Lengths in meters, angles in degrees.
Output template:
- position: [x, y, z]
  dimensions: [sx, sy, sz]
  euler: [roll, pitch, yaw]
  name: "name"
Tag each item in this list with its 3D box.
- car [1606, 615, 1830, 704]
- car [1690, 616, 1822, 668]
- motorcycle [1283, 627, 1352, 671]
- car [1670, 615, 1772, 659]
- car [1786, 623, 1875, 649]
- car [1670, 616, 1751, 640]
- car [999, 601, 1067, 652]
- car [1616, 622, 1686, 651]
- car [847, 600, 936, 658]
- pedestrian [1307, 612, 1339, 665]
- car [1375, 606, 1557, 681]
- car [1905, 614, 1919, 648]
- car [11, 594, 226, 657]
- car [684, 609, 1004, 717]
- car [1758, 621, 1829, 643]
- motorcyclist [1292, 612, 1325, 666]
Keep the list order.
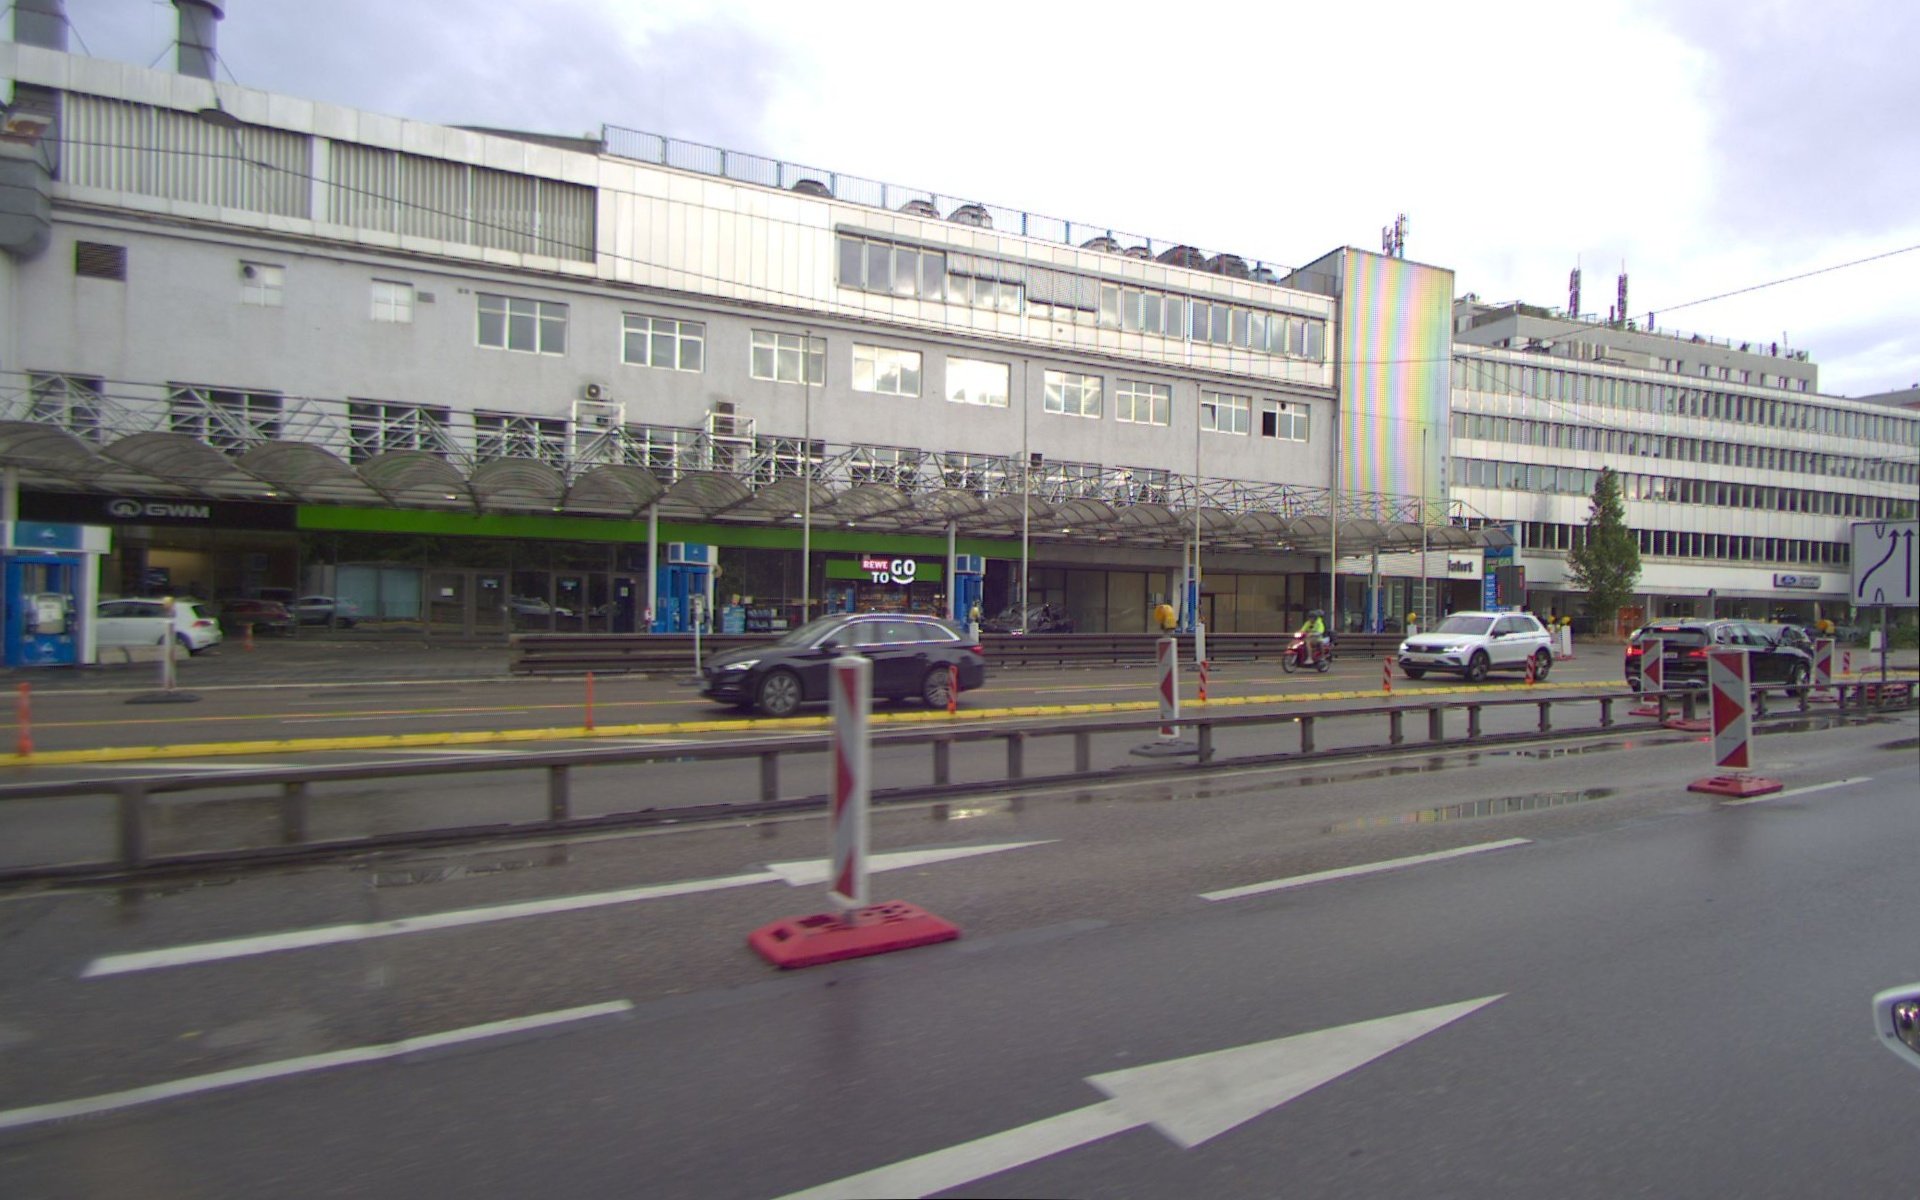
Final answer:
- position: [16.257, 1.195, 21.522]
  dimensions: [4.609, 1.619, 1.940]
  euler: [0, 2, -27]
  name: "car"
- position: [25.333, 1.309, 31.945]
  dimensions: [4.251, 1.541, 1.949]
  euler: [1, 0, -31]
  name: "car"
- position: [9.433, 1.280, 26.475]
  dimensions: [2.004, 1.117, 0.576]
  euler: [1, -1, -31]
  name: "motorcycle"
- position: [28.467, 1.364, 37.545]
  dimensions: [4.032, 1.556, 1.701]
  euler: [1, -1, -32]
  name: "car"
- position: [68.154, 2.803, 78.720]
  dimensions: [4.889, 1.922, 2.000]
  euler: [0, -1, 18]
  name: "car"
- position: [53.312, 1.984, 71.418]
  dimensions: [4.303, 1.673, 1.853]
  euler: [0, -1, 26]
  name: "car"
- position: [2.664, 0.949, 35.724]
  dimensions: [1.973, 1.701, 4.483]
  euler: [0, -2, 10]
  name: "car"
- position: [38.774, 2.038, 56.355]
  dimensions: [3.705, 1.555, 1.647]
  euler: [1, -1, -25]
  name: "car"
- position: [-2.165, 0.958, 33.043]
  dimensions: [1.927, 1.794, 4.449]
  euler: [0, -2, 10]
  name: "car"
- position: [9.618, 1.014, 26.620]
  dimensions: [0.555, 1.381, 0.585]
  euler: [1, -1, -31]
  name: "pedestrian"
- position: [12.509, 1.034, 24.753]
  dimensions: [4.528, 1.712, 1.928]
  euler: [1, -1, -31]
  name: "car"
- position: [51.247, 1.662, 52.184]
  dimensions: [4.778, 1.730, 1.969]
  euler: [2, -1, -32]
  name: "car"
- position: [-21.492, 0.676, 25.883]
  dimensions: [3.919, 1.502, 1.805]
  euler: [1, -1, -29]
  name: "car"
- position: [-1.756, 0.928, 15.755]
  dimensions: [4.653, 1.485, 1.842]
  euler: [2, -1, -31]
  name: "car"
- position: [63.429, 2.442, 76.510]
  dimensions: [3.932, 1.595, 1.995]
  euler: [0, -2, 33]
  name: "car"
- position: [9.133, 1.020, 26.335]
  dimensions: [0.555, 1.381, 0.585]
  euler: [1, -1, -31]
  name: "motorcyclist"
